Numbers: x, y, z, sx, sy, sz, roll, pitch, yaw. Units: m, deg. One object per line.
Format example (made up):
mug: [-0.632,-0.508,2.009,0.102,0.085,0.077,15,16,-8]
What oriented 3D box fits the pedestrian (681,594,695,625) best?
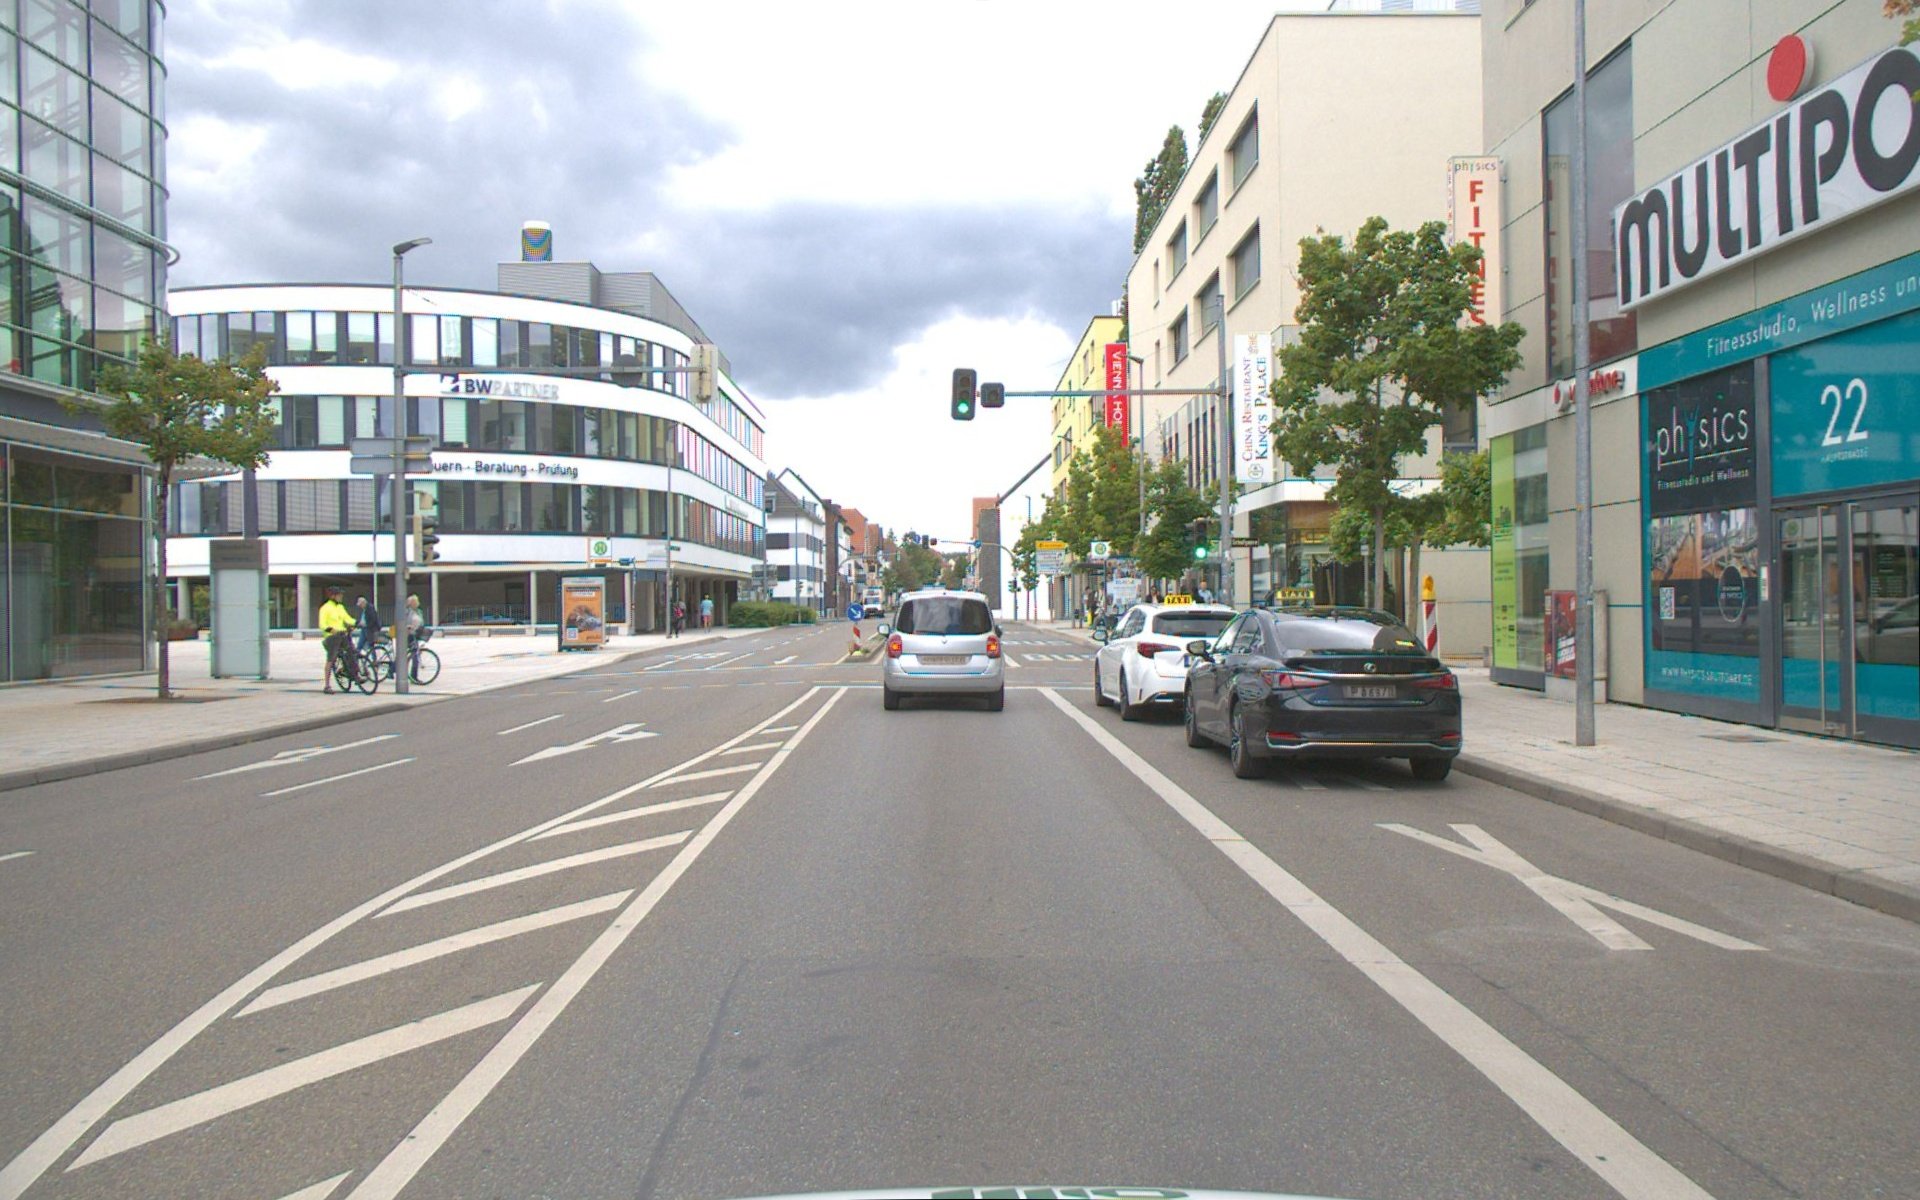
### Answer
pedestrian: [-15.594,0.550,94.720,0.495,1.760,0.614,-1,-1,30]

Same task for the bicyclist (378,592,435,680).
bicyclist: [-10.775,0.698,32.209,0.765,1.677,0.639,2,0,14]

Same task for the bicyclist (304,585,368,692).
bicyclist: [-10.951,0.661,29.016,0.761,1.831,0.743,1,-1,43]

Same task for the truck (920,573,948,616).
truck: [-2.408,-0.505,156.585,2.542,3.925,6.847,0,0,0]

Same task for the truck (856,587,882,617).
truck: [-9.519,0.247,173.903,2.385,3.005,8.362,1,0,-1]

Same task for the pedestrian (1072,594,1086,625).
pedestrian: [6.473,0.511,89.810,0.681,1.621,0.603,-2,0,-2]

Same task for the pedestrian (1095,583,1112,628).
pedestrian: [5.251,0.210,60.626,0.567,1.618,0.733,-2,-1,4]

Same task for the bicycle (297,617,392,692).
bicycle: [-10.852,0.945,29.132,1.996,1.227,0.743,2,0,44]

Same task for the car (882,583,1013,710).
car: [-0.199,0.615,23.467,1.672,1.606,3.999,1,0,-1]

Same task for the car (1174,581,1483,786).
car: [3.209,0.666,15.382,1.701,1.569,4.789,1,0,-1]

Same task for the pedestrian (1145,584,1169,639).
pedestrian: [6.070,0.352,51.042,0.641,1.698,0.614,-1,0,-1]

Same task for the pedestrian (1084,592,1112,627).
pedestrian: [5.153,0.374,61.998,0.924,1.281,0.732,-1,-1,-4]

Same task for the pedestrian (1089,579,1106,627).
pedestrian: [5.233,0.131,62.972,0.567,1.800,0.857,-2,-1,4]

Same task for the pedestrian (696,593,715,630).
pedestrian: [-11.971,0.541,77.931,0.715,1.703,0.931,1,0,1]

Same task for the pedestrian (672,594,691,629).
pedestrian: [-13.311,0.535,79.123,0.715,1.641,0.931,1,0,1]

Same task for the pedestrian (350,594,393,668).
pedestrian: [-16.018,0.832,45.017,0.894,1.979,0.739,1,-1,-40]

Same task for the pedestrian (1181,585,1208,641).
pedestrian: [7.269,0.397,51.285,0.729,1.698,0.614,-1,0,-1]

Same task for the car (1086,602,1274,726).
car: [2.774,0.764,21.810,1.747,1.450,4.513,0,0,-2]

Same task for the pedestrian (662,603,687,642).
pedestrian: [-11.584,0.908,67.206,0.812,1.594,0.813,1,0,4]

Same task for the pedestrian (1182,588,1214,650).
pedestrian: [6.335,0.507,44.068,0.725,1.636,0.714,-1,0,-1]

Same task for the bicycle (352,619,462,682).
bicycle: [-10.755,0.968,32.181,1.957,1.150,0.639,2,0,14]

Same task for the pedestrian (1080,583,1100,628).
pedestrian: [5.051,0.225,64.338,0.705,1.713,0.733,-2,-1,4]
